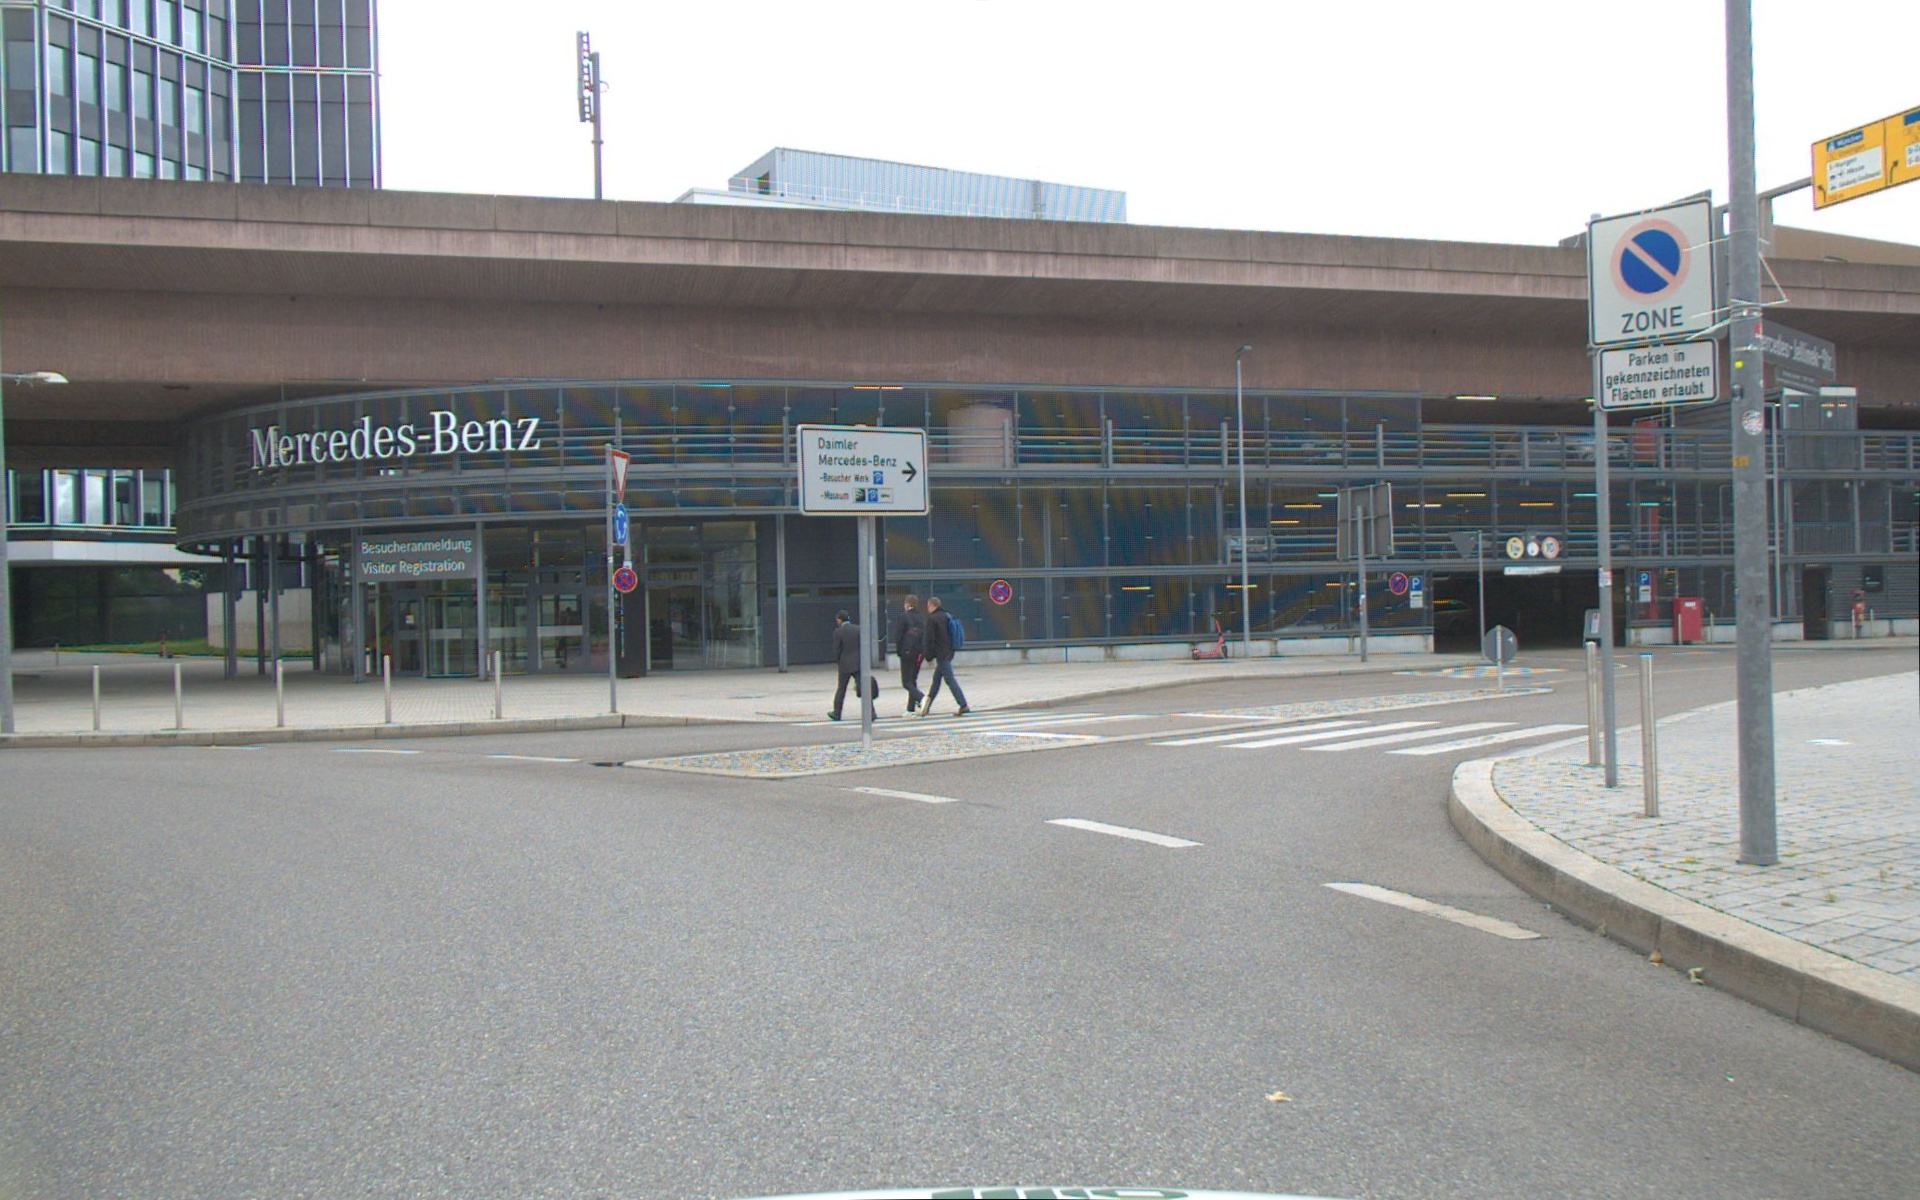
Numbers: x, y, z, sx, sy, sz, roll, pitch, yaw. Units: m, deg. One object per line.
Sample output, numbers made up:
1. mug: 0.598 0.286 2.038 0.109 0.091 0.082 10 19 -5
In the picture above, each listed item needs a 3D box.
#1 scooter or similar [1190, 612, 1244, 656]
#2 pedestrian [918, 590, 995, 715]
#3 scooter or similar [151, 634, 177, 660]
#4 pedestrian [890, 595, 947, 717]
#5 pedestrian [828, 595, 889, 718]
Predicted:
1. scooter or similar: 6.939 0.914 44.646 1.401 1.143 0.379 -1 0 -18
2. pedestrian: -0.052 0.775 24.890 0.859 1.830 0.770 0 0 -44
3. scooter or similar: -34.936 2.051 72.598 0.694 1.124 1.480 0 0 -39
4. pedestrian: -0.596 0.795 23.981 0.768 1.735 0.773 -1 0 1
5. pedestrian: -1.466 0.797 23.777 0.846 1.735 0.772 0 0 -5
